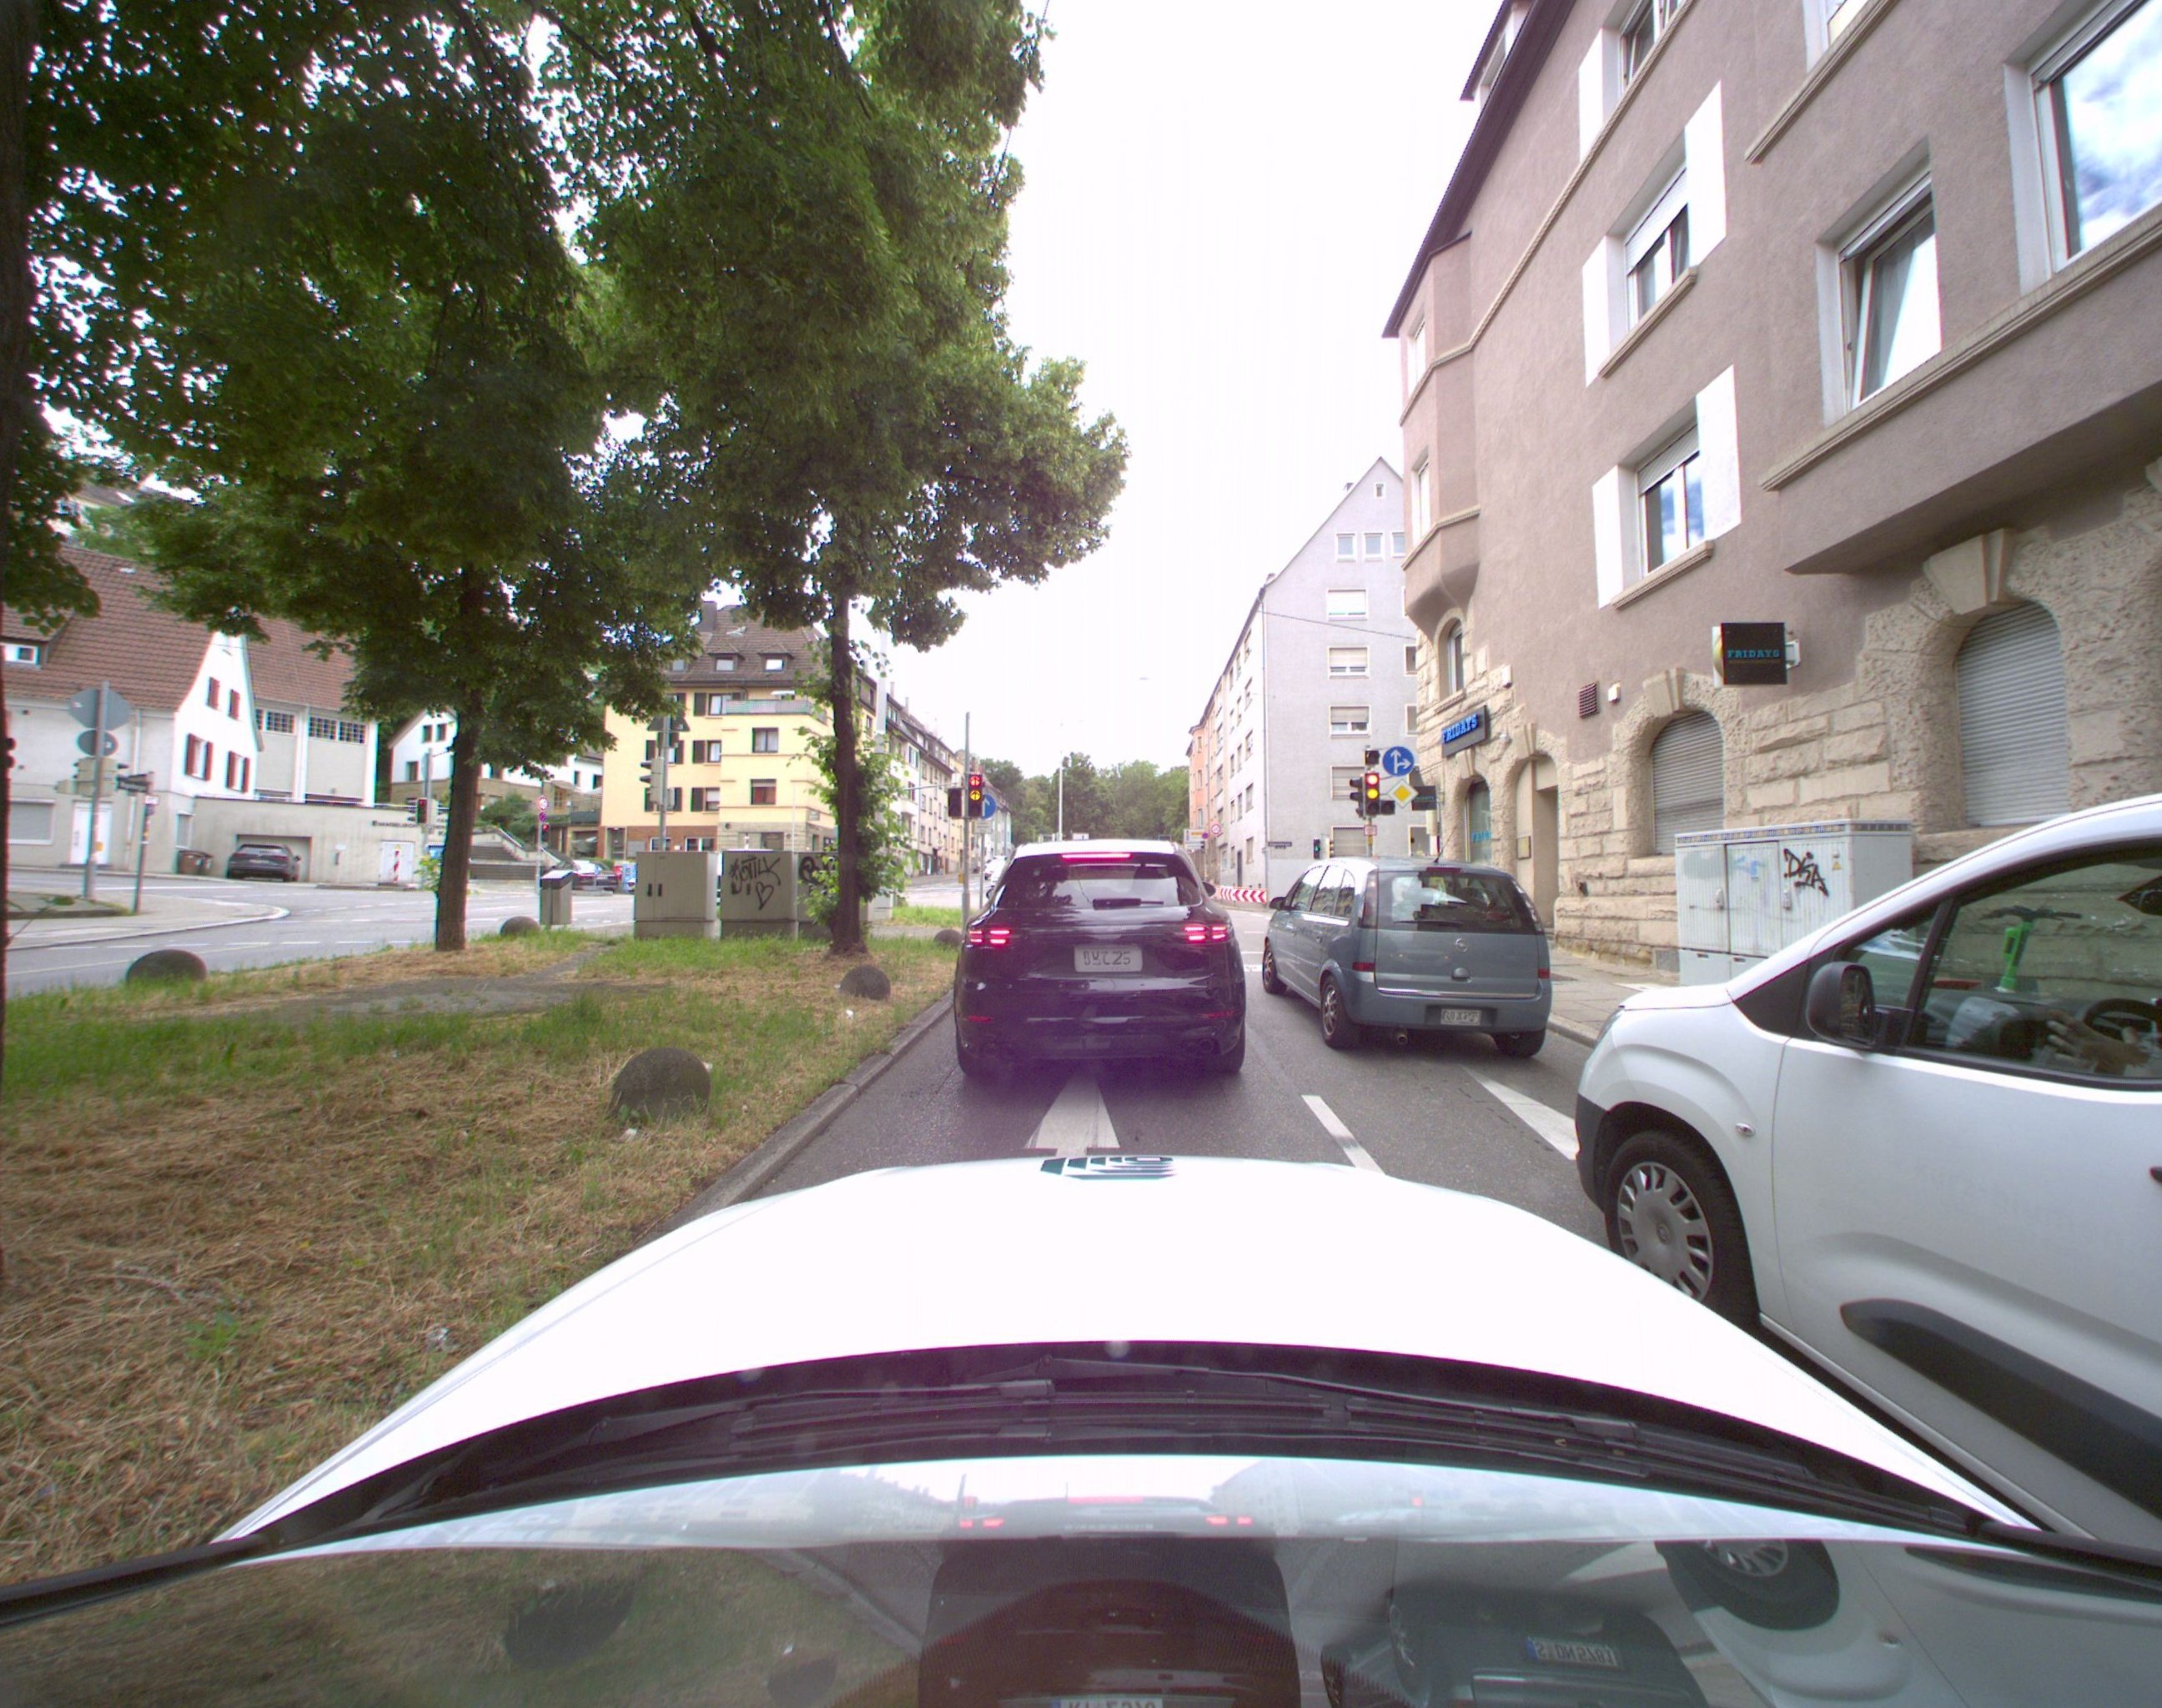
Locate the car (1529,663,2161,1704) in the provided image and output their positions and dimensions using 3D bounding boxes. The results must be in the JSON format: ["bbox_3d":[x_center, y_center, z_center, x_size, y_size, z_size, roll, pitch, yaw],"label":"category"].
[{"bbox_3d":[2.848,0.595,1.023,1.969,1.775,4.676,3,0,0],"label":"car"}]

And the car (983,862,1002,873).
[{"bbox_3d":[-10.836,1.638,99.594,1.732,1.387,3.815,0,0,2],"label":"car"}]

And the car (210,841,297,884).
[{"bbox_3d":[-32.246,0.340,31.715,3.018,1.405,1.681,3,-4,33],"label":"car"}]

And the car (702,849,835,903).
[{"bbox_3d":[-10.088,0.675,26.744,1.961,1.610,4.571,-1,0,10],"label":"car"}]

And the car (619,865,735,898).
[{"bbox_3d":[-17.124,1.134,34.639,4.158,1.279,1.627,0,-1,-43],"label":"car"}]

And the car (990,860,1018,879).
[{"bbox_3d":[-6.291,1.314,66.649,1.611,1.480,3.828,-1,-2,5],"label":"car"}]

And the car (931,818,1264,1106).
[{"bbox_3d":[0.155,0.658,6.840,1.948,1.674,4.001,-1,-1,2],"label":"car"}]

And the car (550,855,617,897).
[{"bbox_3d":[-23.727,1.014,38.776,3.477,1.596,1.881,7,4,44],"label":"car"}]

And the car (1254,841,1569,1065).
[{"bbox_3d":[2.863,0.753,7.927,1.622,1.598,3.670,3,0,2],"label":"car"}]

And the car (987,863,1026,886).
[{"bbox_3d":[-4.604,1.239,50.838,1.854,1.388,4.096,0,0,2],"label":"car"}]

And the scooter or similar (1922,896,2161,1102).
[{"bbox_3d":[6.472,0.862,5.325,0.524,1.104,1.424,-1,-1,4],"label":"scooter or similar"}]
